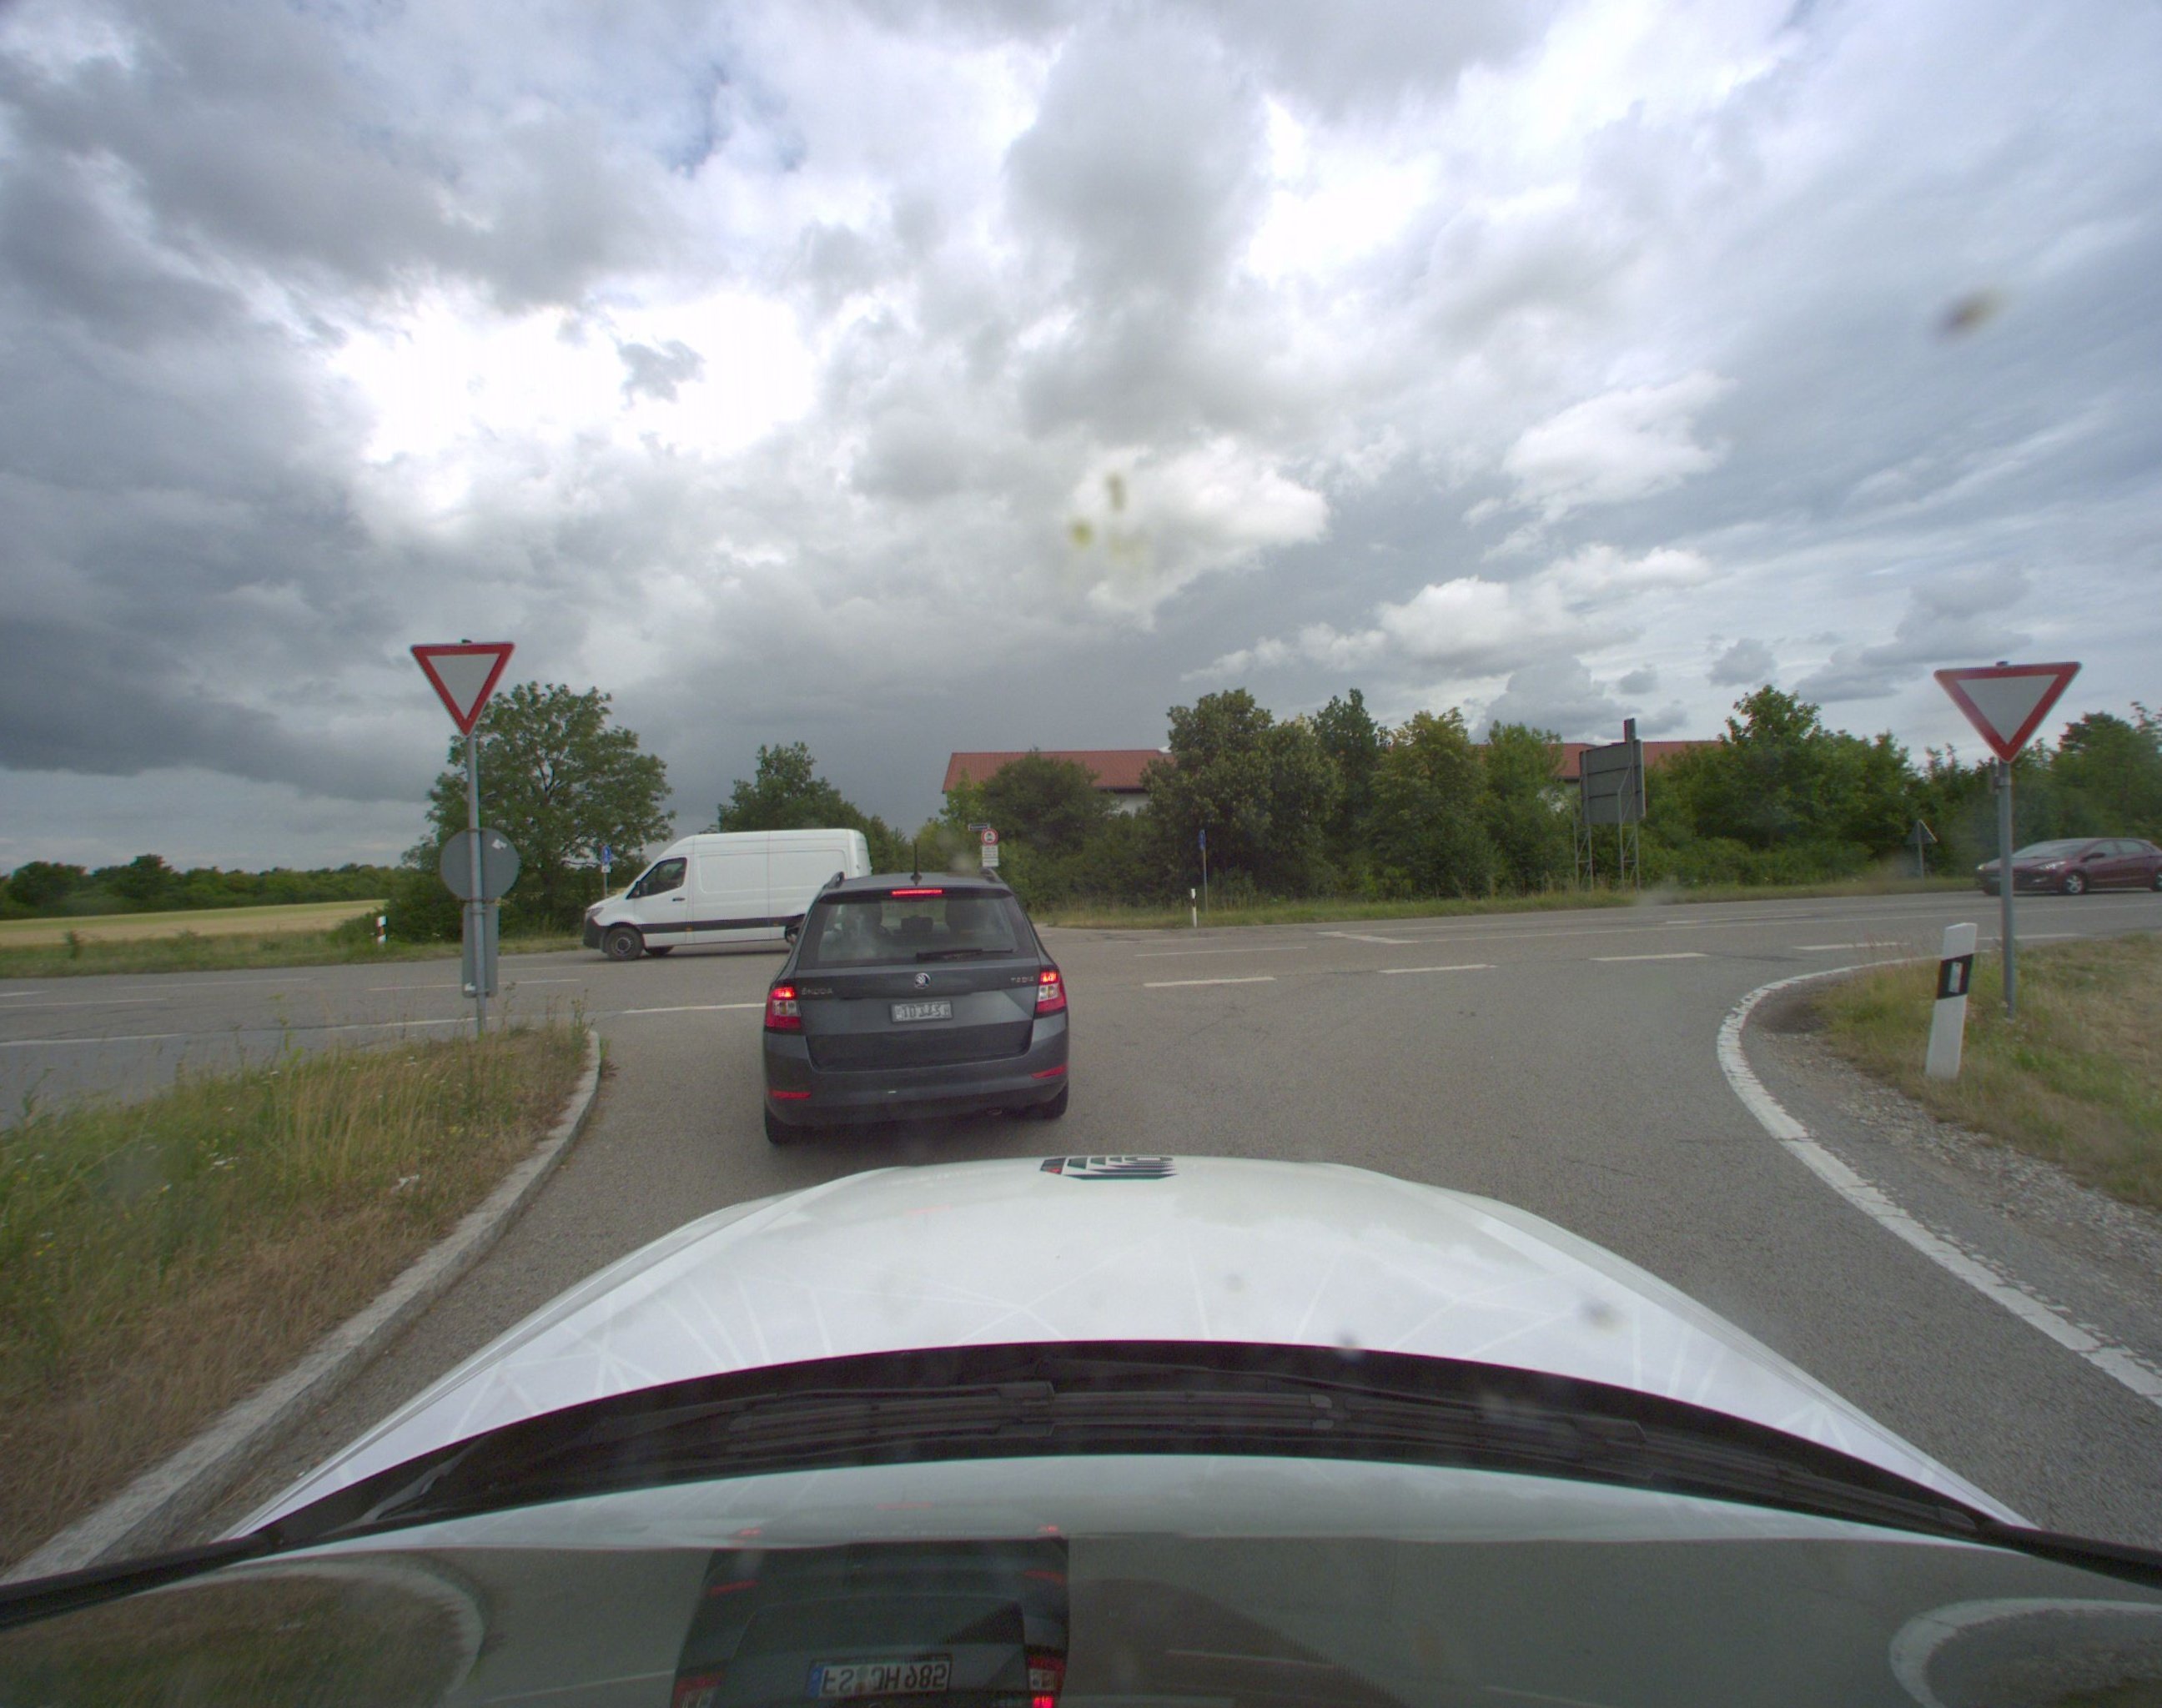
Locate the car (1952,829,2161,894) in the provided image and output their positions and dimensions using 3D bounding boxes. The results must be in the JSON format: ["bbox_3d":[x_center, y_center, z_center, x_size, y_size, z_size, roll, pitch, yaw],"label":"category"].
[{"bbox_3d":[25.862,0.193,21.359,4.142,1.464,1.996,-3,-1,-6],"label":"car"}]

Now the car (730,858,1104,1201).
[{"bbox_3d":[-1.159,0.825,5.597,1.679,1.463,3.689,-1,-1,-14],"label":"car"}]

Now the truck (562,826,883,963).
[{"bbox_3d":[-7.556,0.832,17.749,5.991,2.576,1.995,-2,-2,-7],"label":"truck"}]
